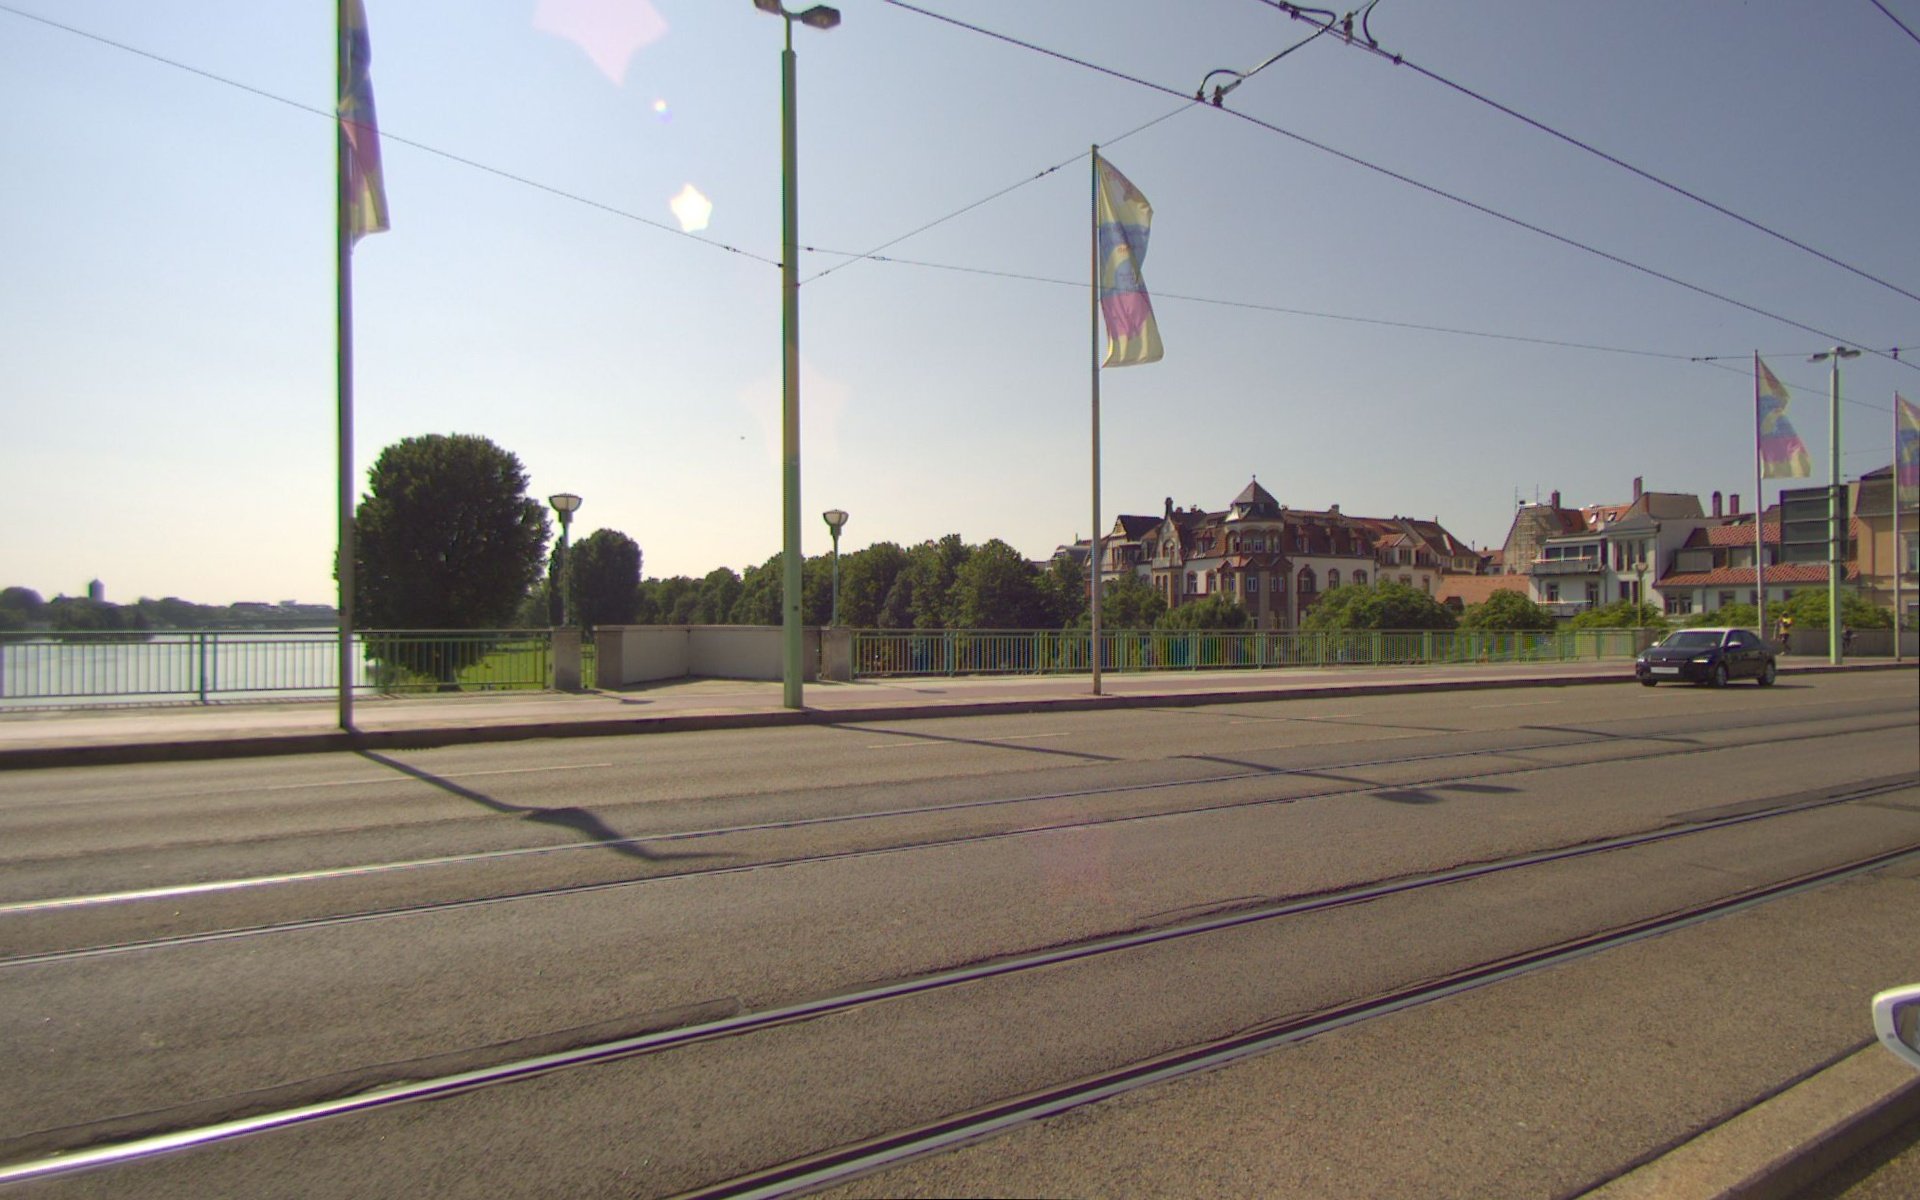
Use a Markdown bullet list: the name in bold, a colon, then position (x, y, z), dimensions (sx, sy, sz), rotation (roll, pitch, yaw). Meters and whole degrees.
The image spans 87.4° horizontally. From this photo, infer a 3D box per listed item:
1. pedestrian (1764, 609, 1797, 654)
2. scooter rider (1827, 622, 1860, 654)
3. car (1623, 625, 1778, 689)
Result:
- **pedestrian**: position (33.198, 1.273, 40.632), dimensions (0.791, 1.804, 0.743), rotation (1, -2, -25)
- **scooter rider**: position (37.815, 1.624, 42.993), dimensions (0.588, 1.333, 0.767), rotation (2, 3, -18)
- **car**: position (18.371, 1.368, 24.907), dimensions (3.856, 1.473, 1.708), rotation (1, -2, -30)
